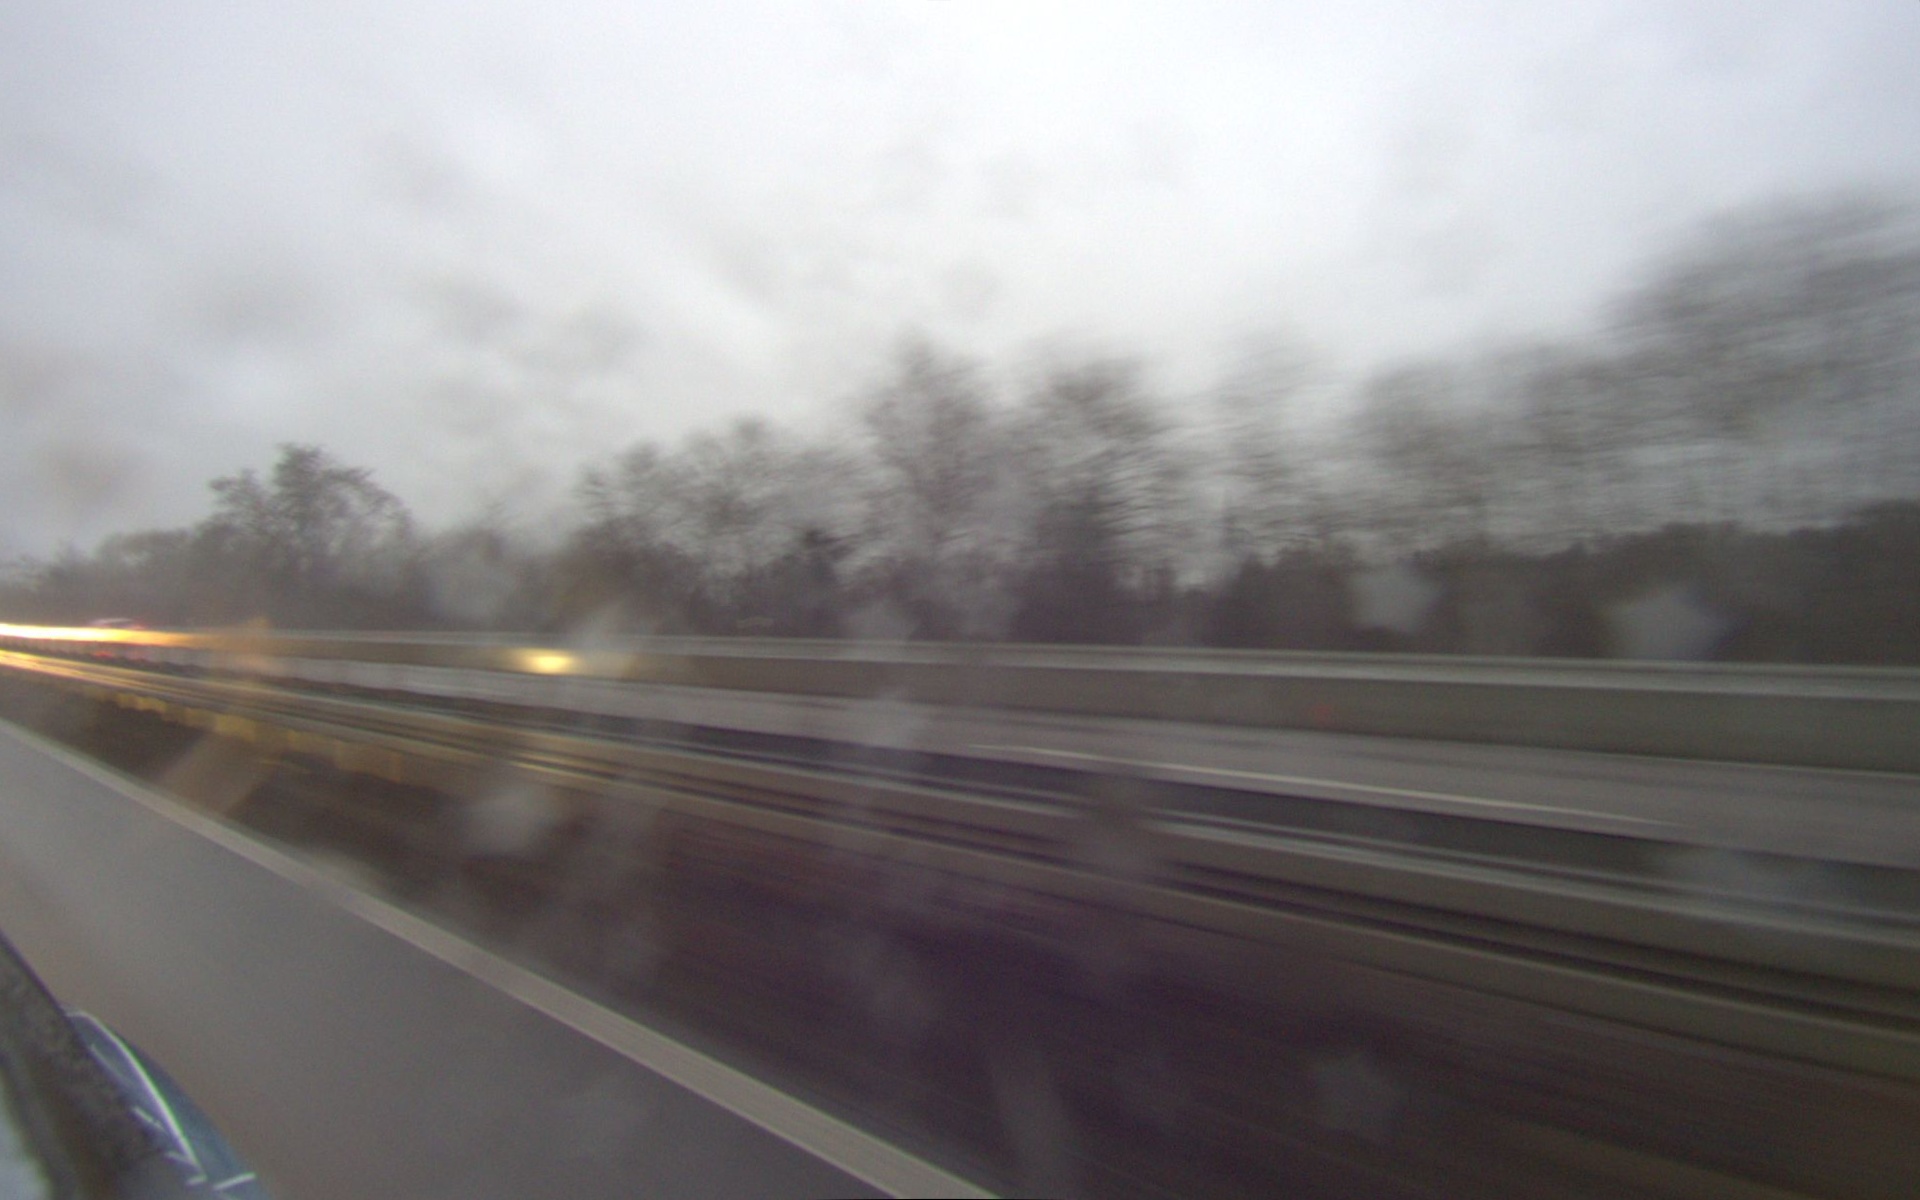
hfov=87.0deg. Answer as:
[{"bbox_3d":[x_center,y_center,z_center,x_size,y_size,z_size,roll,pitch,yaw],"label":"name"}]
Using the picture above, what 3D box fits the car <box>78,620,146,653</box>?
[{"bbox_3d":[-40.347,1.738,48.148,3.996,1.434,1.699,-1,-6,40],"label":"car"}]
